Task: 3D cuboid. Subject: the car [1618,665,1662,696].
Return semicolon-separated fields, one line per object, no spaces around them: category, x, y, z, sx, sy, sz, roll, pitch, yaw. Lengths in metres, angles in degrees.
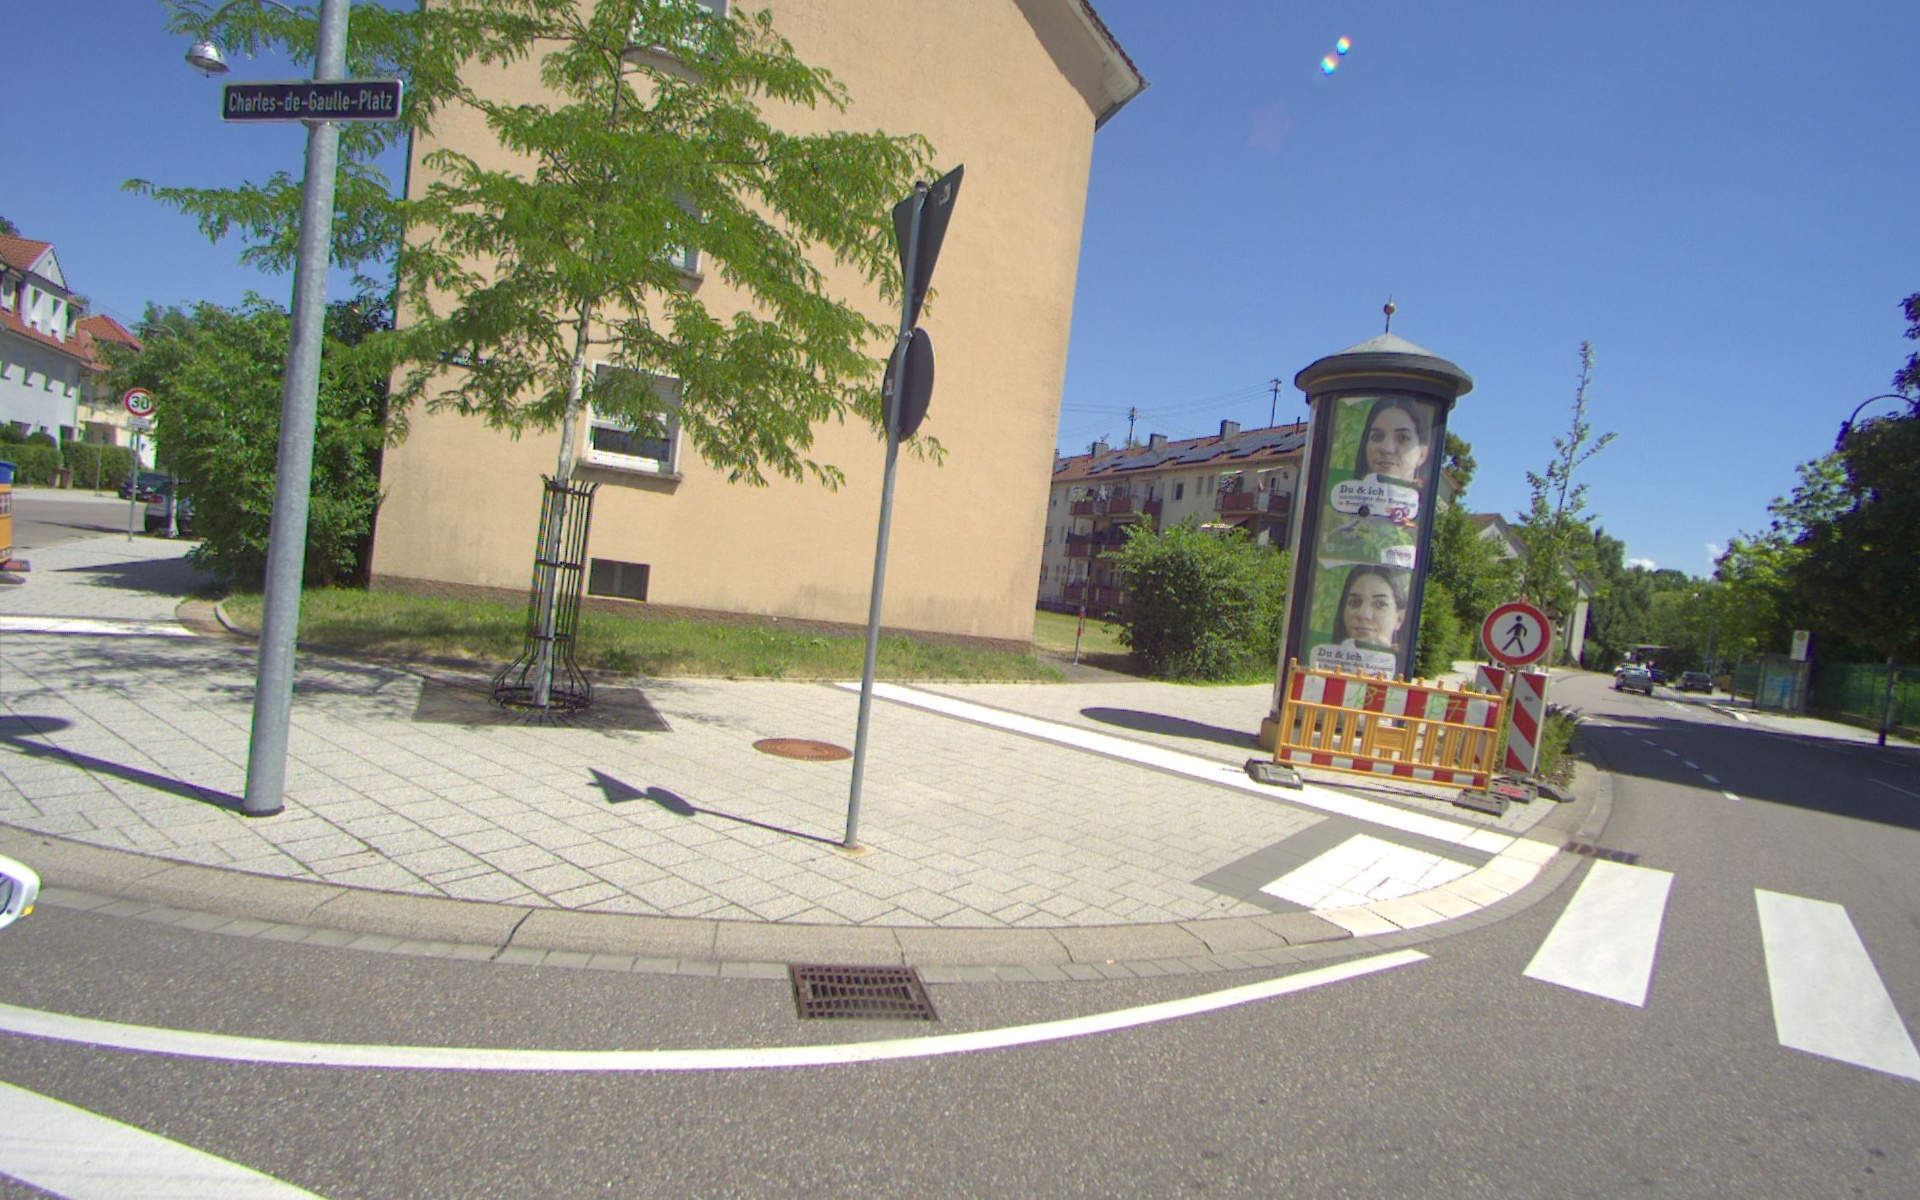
car;38.393;4.517;56.778;1.718;1.455;3.693;7;1;38

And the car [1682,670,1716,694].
car;53.402;5.890;72.778;1.717;1.455;3.697;6;1;35

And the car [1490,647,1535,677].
car;31.899;3.556;58.034;1.717;1.455;3.696;6;1;35

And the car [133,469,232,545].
car;-21.221;-2.577;27.584;1.868;1.653;3.553;7;3;-36
